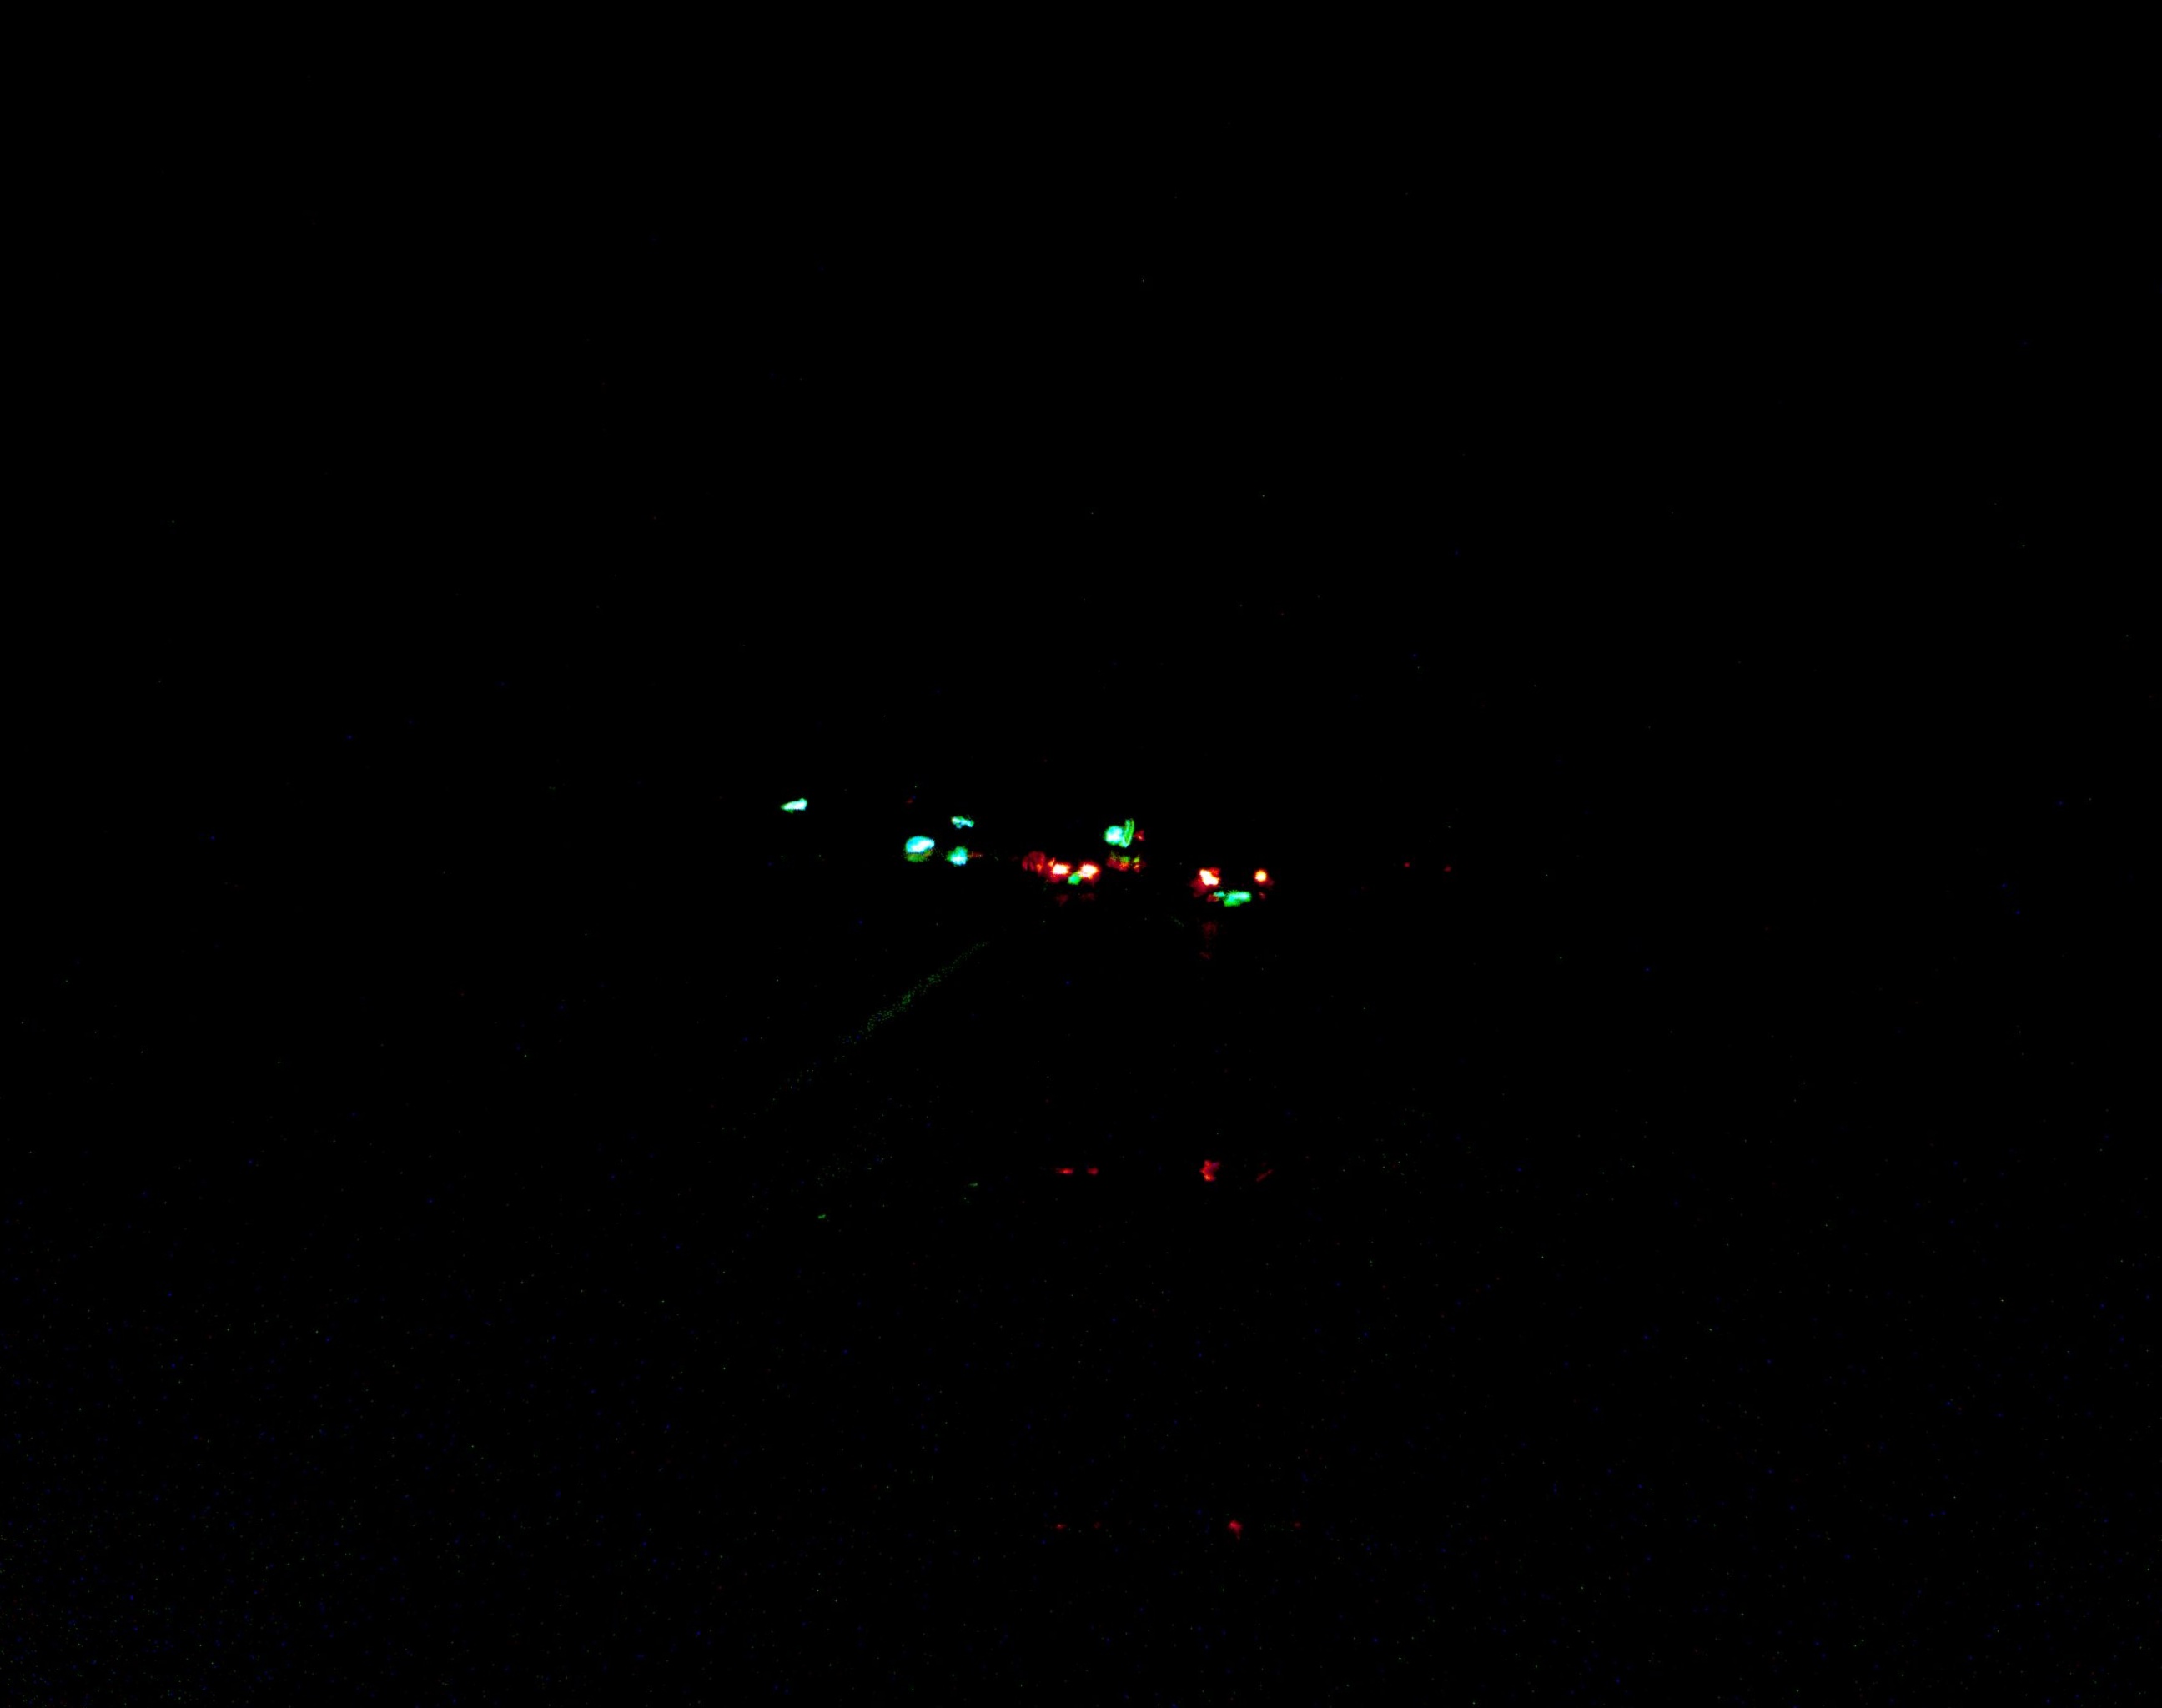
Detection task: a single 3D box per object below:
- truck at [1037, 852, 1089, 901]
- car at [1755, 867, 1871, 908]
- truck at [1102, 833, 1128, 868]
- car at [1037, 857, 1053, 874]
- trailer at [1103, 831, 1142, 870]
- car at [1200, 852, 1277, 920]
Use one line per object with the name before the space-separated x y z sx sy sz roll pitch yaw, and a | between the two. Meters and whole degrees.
truck | -0.768 1.005 39.691 2.137 2.077 6.606 3 0 1
car | 32.931 1.469 36.822 1.982 1.600 4.010 3 0 9
truck | 4.311 -0.451 104.239 2.705 4.241 5.285 -1 0 -4
car | -4.767 1.540 107.313 1.990 2.014 3.994 -3 -2 -4
trailer | 4.822 -0.493 97.628 2.735 4.247 13.349 -3 1 -5
car | 4.097 0.778 21.706 1.790 1.617 4.267 -1 0 8
